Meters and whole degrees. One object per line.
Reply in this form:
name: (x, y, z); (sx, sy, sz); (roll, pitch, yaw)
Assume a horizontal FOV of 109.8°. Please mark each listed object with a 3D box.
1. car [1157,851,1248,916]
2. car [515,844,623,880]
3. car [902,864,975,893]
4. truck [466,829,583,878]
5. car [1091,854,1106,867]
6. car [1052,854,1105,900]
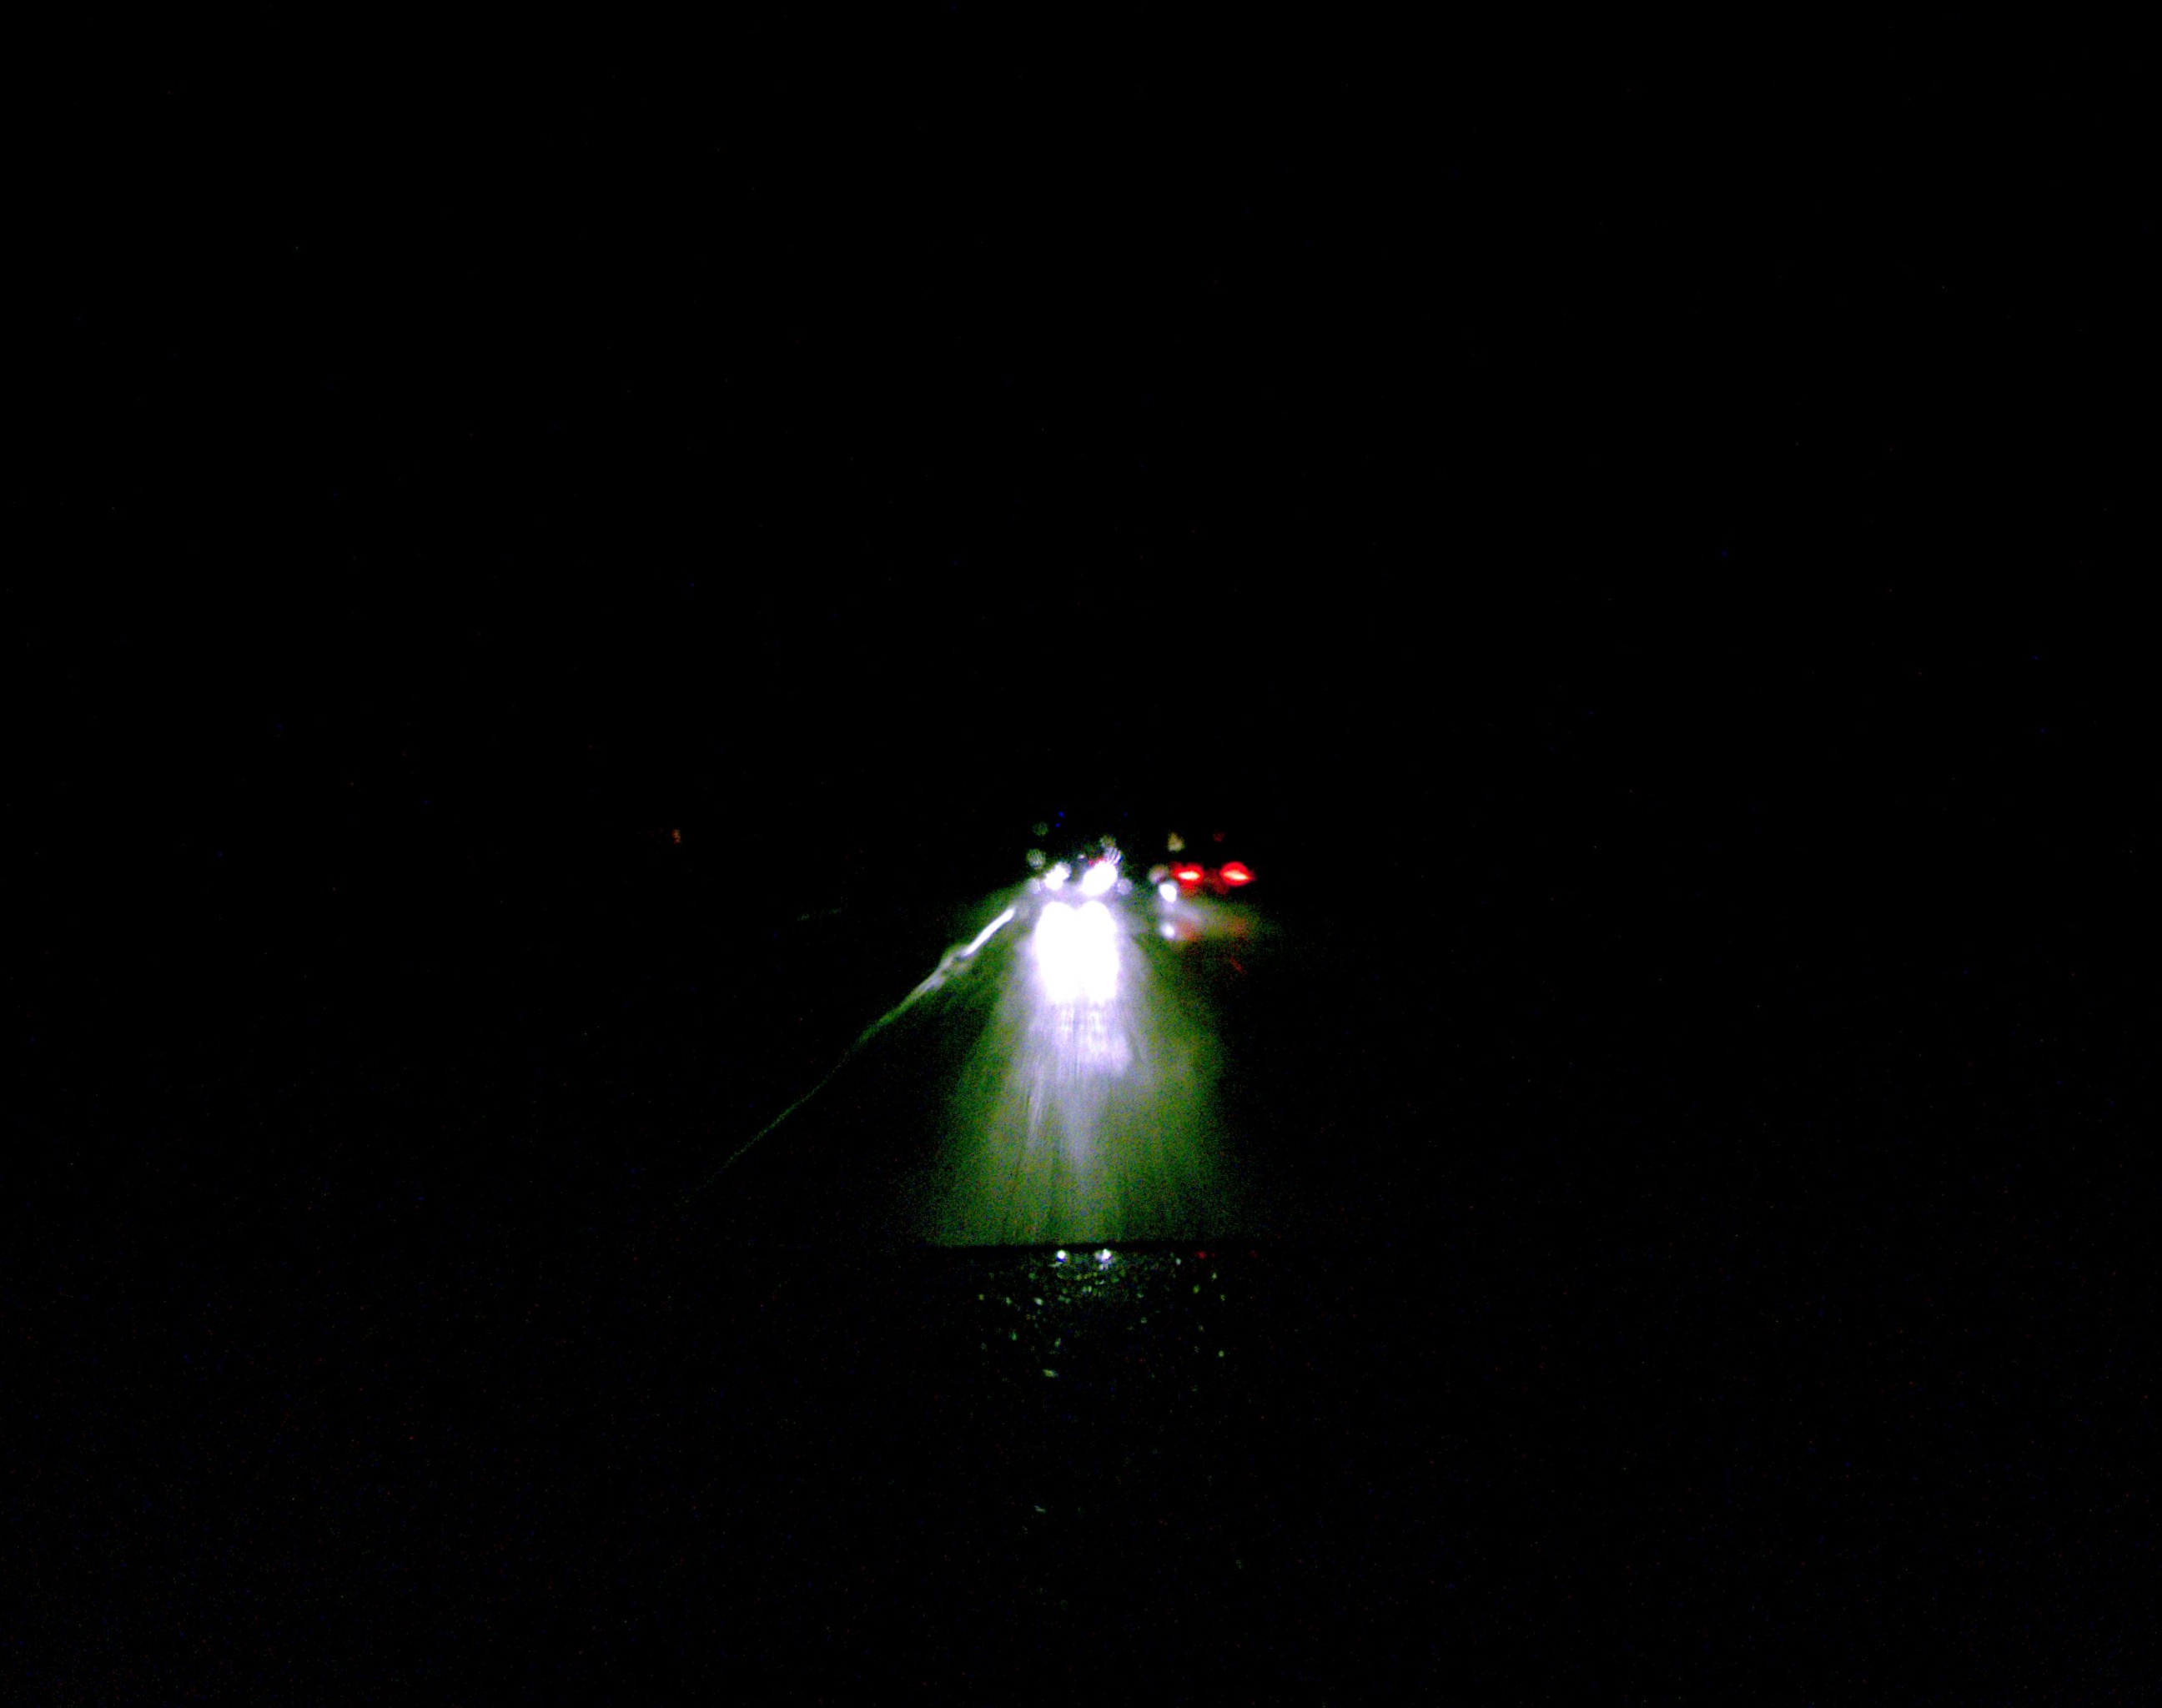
car: (3.291, 0.733, 21.348); (1.894, 1.628, 4.155); (-1, 1, 0)
car: (-29.289, 0.432, 43.580); (4.754, 2.002, 2.000); (-1, 1, 0)
car: (-8.181, 1.381, 43.802); (3.731, 1.512, 1.751); (0, 1, 13)
truck: (-34.063, -0.051, 46.747); (5.361, 2.737, 2.222); (-2, 0, -23)
car: (2.314, 0.883, 100.614); (1.835, 1.637, 3.999); (-1, 1, -1)
car: (-0.157, 0.877, 30.164); (1.863, 1.601, 4.419); (-3, 0, -2)
